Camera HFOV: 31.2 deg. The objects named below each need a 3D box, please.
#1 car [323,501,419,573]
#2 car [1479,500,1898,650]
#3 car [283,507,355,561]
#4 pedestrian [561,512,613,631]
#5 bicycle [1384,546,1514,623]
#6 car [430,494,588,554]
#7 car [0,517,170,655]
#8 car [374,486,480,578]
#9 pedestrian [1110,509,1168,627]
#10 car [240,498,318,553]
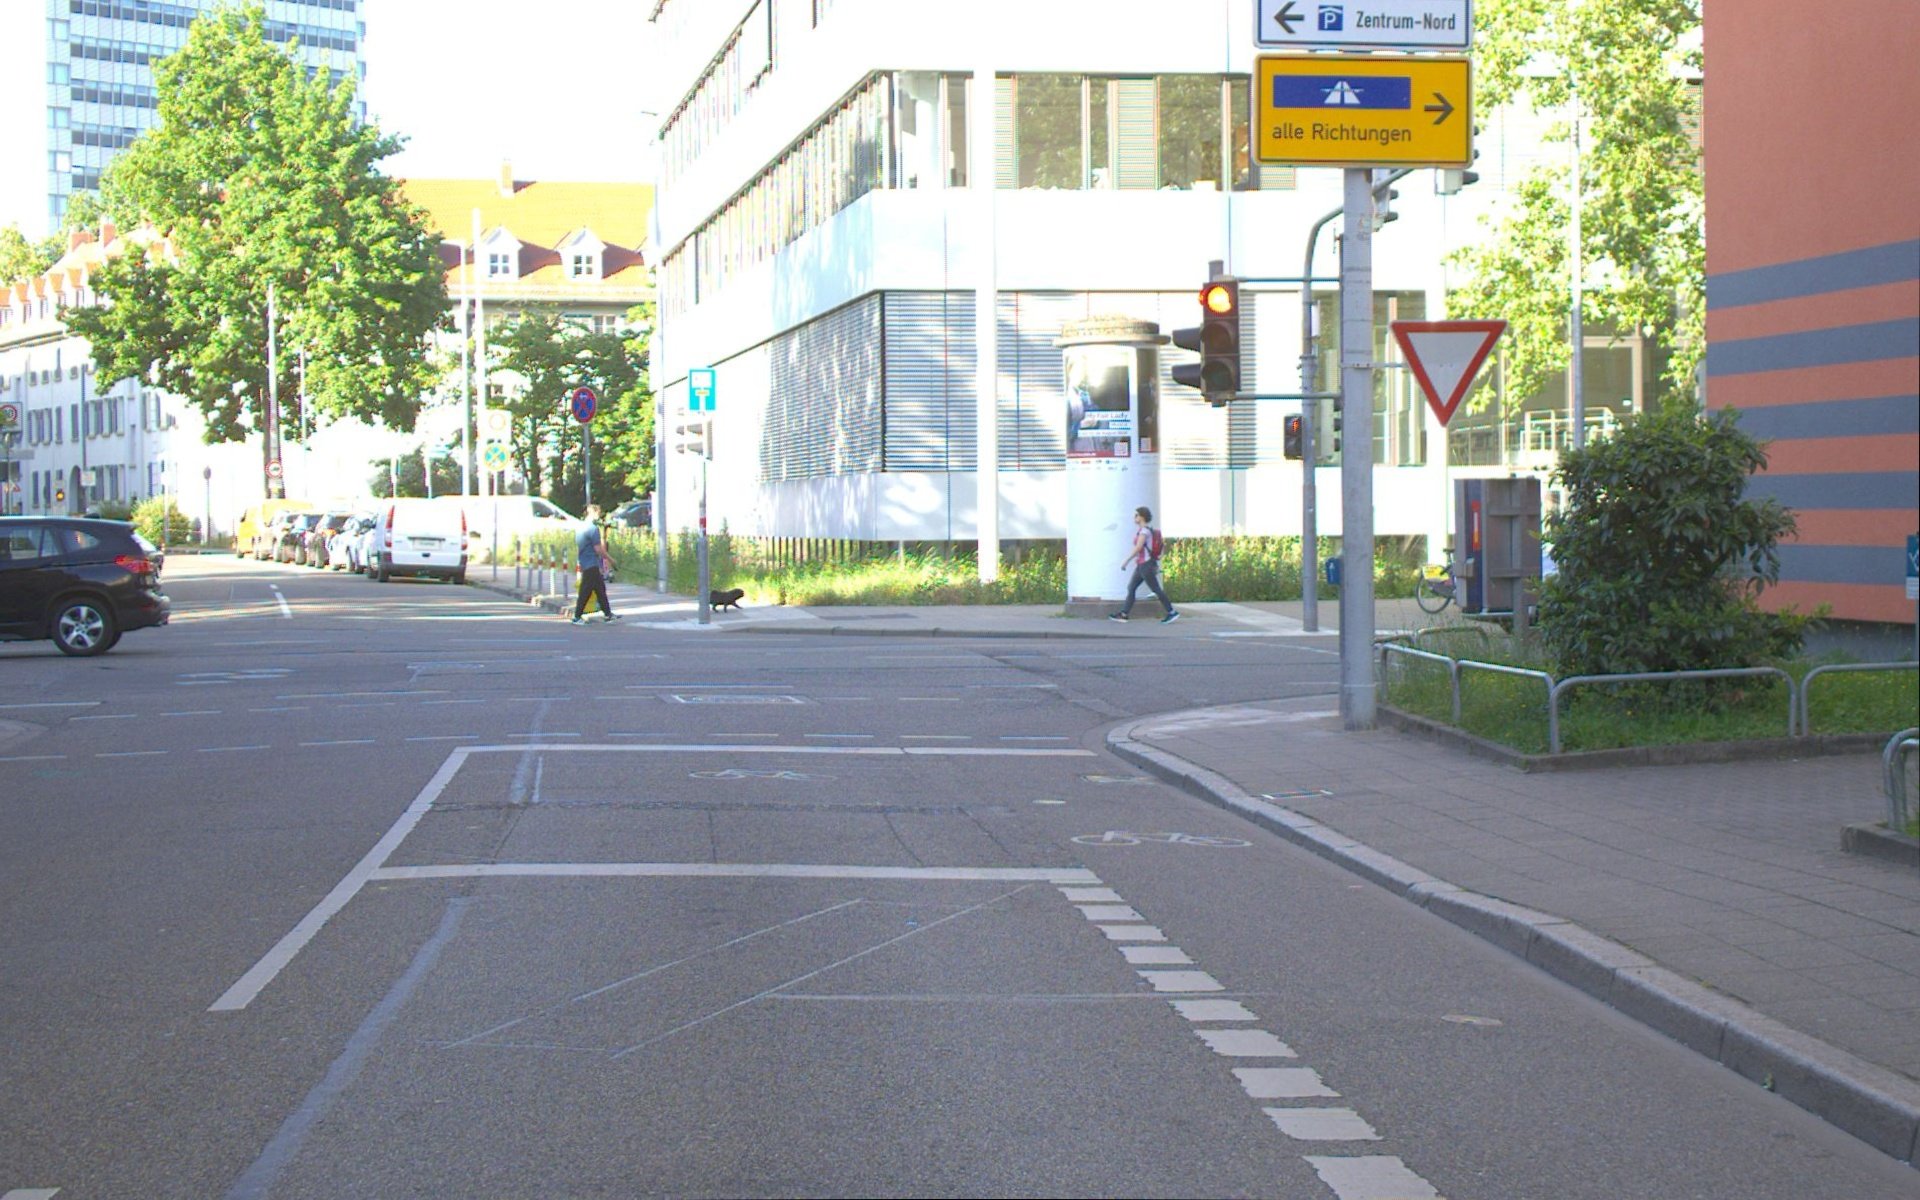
[{"bbox_3d":[-15.013,-1.617,87.454,1.946,1.789,4.239,-1,2,-16],"label":"car"},{"bbox_3d":[9.052,-0.337,42.865,4.758,1.701,1.800,-2,2,-9],"label":"car"},{"bbox_3d":[-18.039,-1.874,96.706,1.703,1.459,4.239,-1,2,-14],"label":"car"},{"bbox_3d":[-5.489,-0.431,50.581,0.652,1.730,0.812,-1,1,-14],"label":"pedestrian"},{"bbox_3d":[6.849,-0.231,48.212,0.463,1.045,1.914,-2,2,-45],"label":"bicycle"},{"bbox_3d":[-14.952,-2.508,113.907,4.880,1.865,2.001,1,1,-19],"label":"car"},{"bbox_3d":[-11.113,-0.175,39.112,3.986,1.520,1.869,0,1,-8],"label":"car"},{"bbox_3d":[-11.755,-1.506,75.656,2.066,1.956,4.239,-1,2,-12],"label":"car"},{"bbox_3d":[2.448,-0.444,47.013,0.711,1.594,0.617,0,1,-4],"label":"pedestrian"},{"bbox_3d":[-21.087,-2.313,106.379,2.100,1.652,4.477,-1,2,-14],"label":"car"}]
